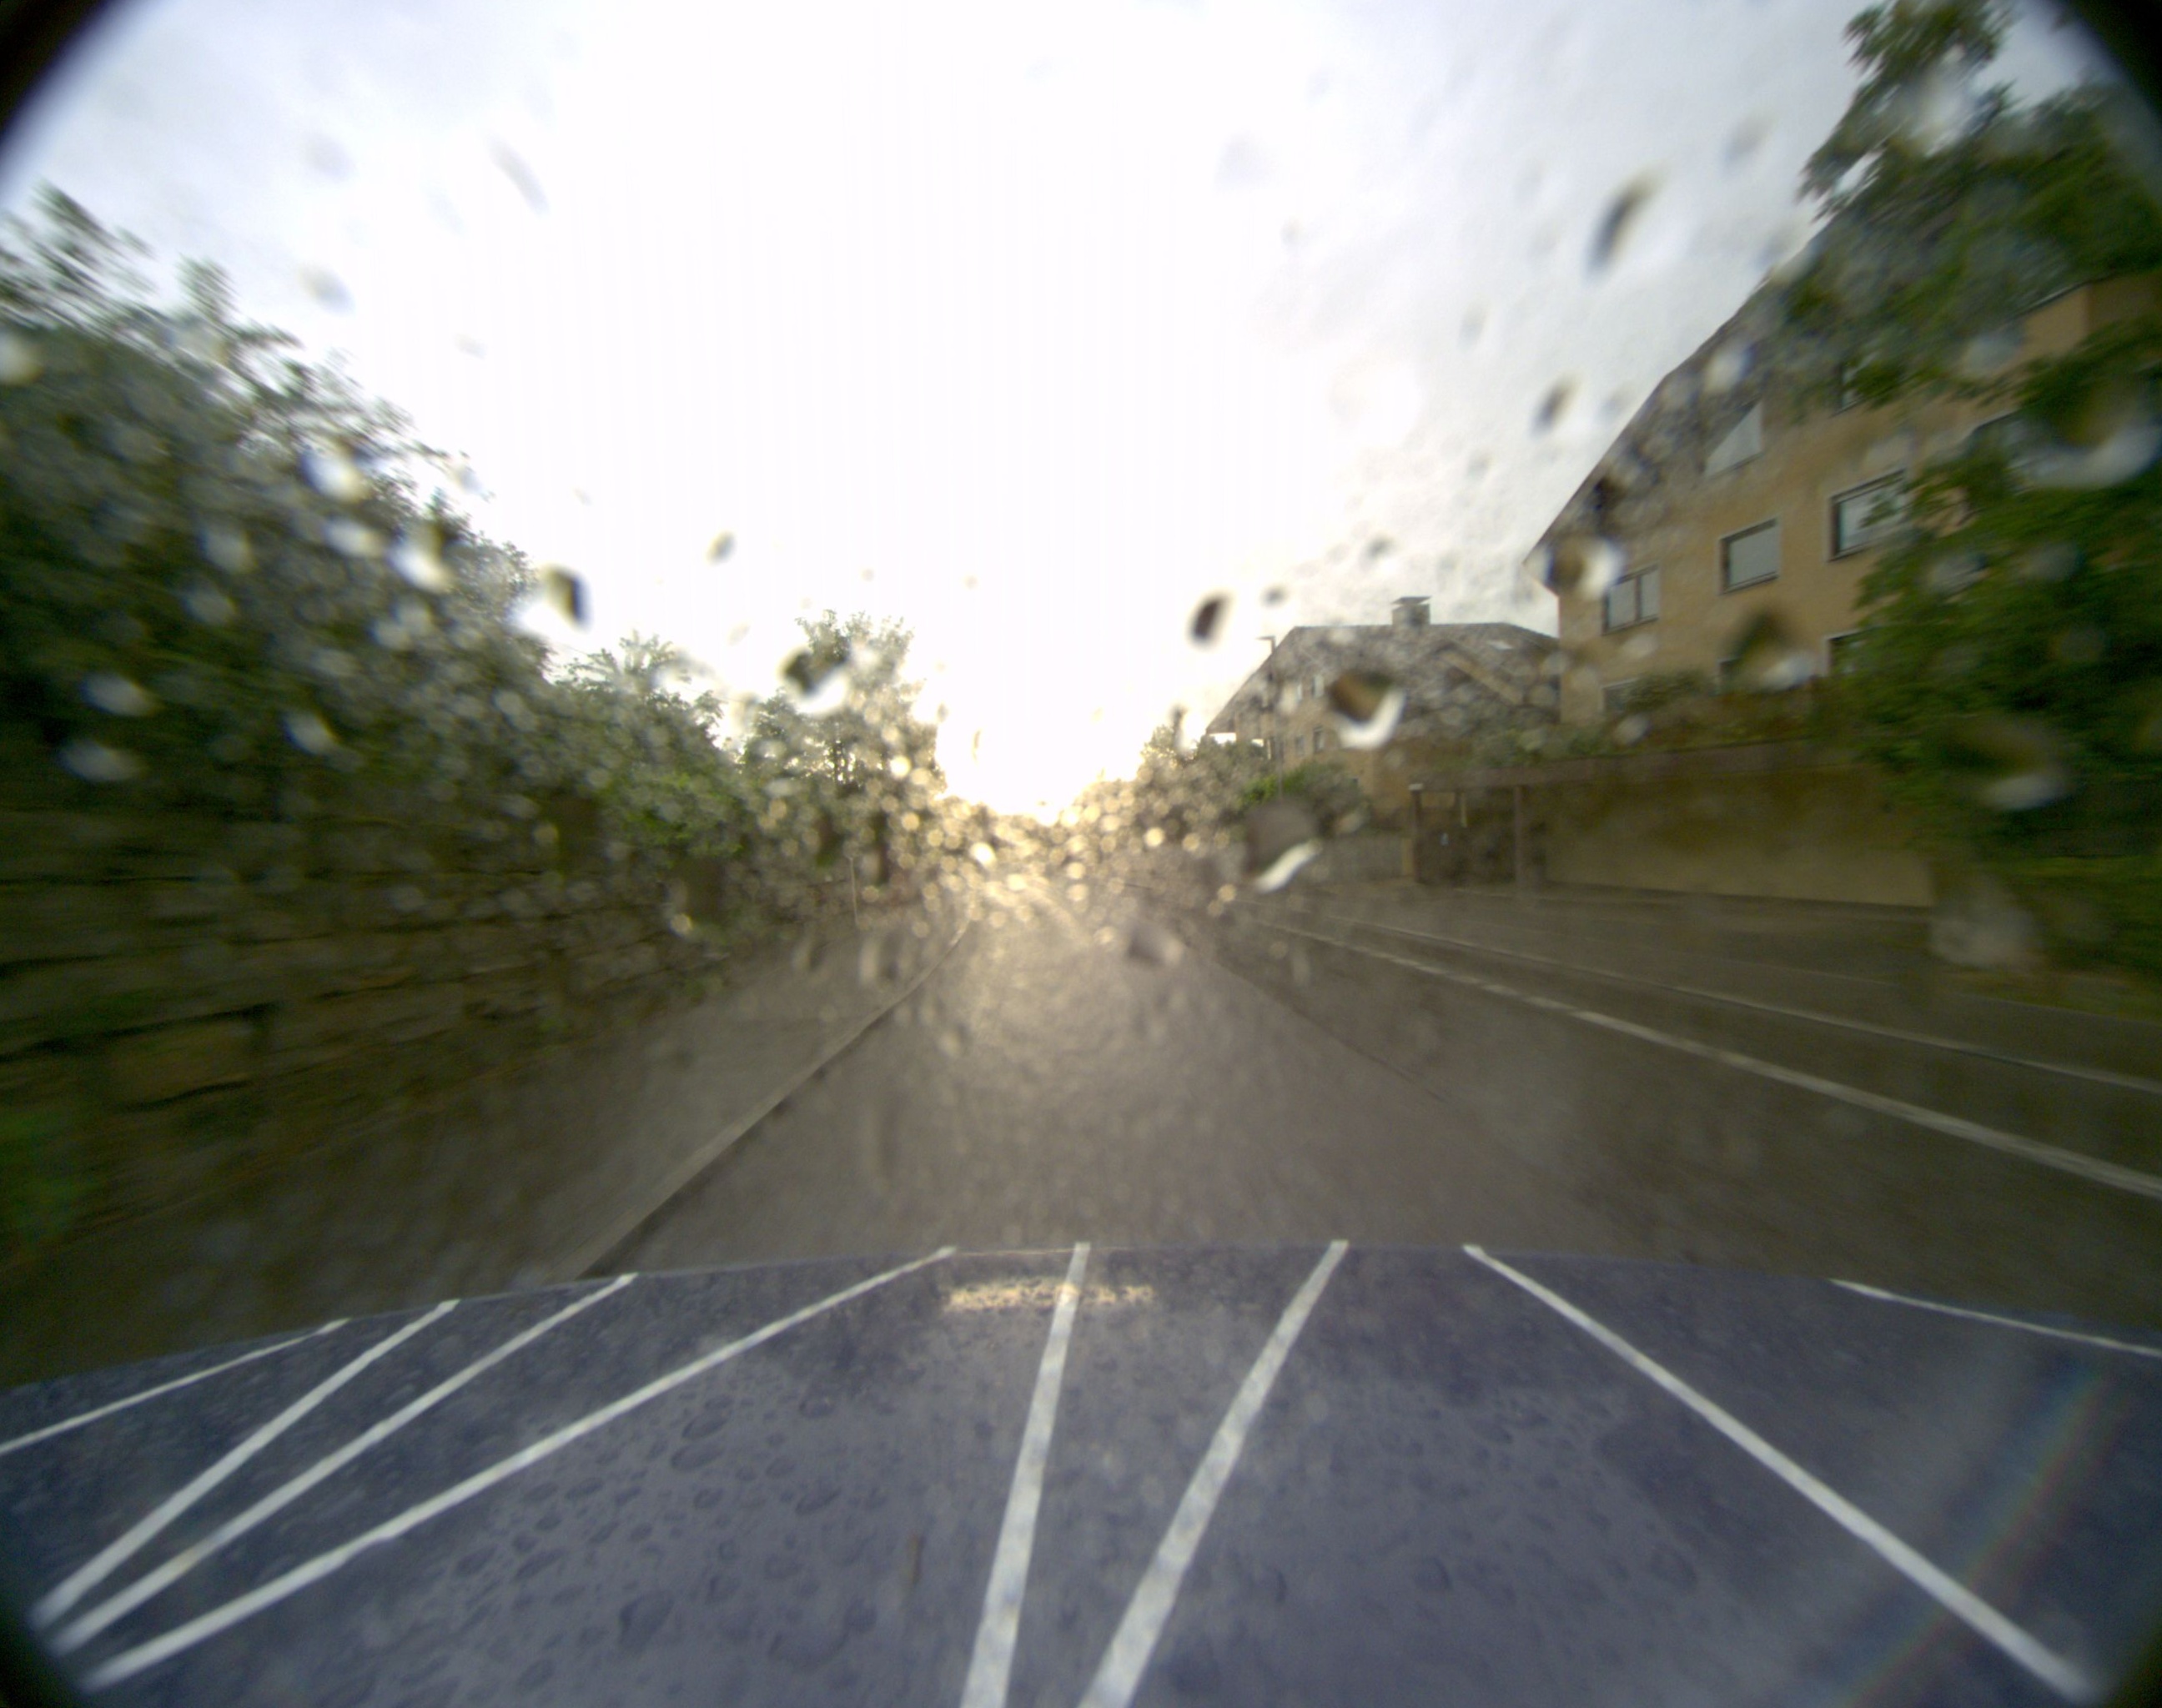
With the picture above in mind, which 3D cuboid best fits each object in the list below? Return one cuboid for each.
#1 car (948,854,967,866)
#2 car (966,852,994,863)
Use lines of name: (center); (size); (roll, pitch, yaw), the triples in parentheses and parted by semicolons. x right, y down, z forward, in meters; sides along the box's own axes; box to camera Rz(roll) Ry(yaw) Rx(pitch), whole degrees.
car: (-15.920, 0.768, 98.139); (1.999, 1.446, 3.997); (-2, 1, -6)
car: (-15.290, 0.550, 115.513); (3.998, 1.446, 1.999); (-2, 1, -4)
